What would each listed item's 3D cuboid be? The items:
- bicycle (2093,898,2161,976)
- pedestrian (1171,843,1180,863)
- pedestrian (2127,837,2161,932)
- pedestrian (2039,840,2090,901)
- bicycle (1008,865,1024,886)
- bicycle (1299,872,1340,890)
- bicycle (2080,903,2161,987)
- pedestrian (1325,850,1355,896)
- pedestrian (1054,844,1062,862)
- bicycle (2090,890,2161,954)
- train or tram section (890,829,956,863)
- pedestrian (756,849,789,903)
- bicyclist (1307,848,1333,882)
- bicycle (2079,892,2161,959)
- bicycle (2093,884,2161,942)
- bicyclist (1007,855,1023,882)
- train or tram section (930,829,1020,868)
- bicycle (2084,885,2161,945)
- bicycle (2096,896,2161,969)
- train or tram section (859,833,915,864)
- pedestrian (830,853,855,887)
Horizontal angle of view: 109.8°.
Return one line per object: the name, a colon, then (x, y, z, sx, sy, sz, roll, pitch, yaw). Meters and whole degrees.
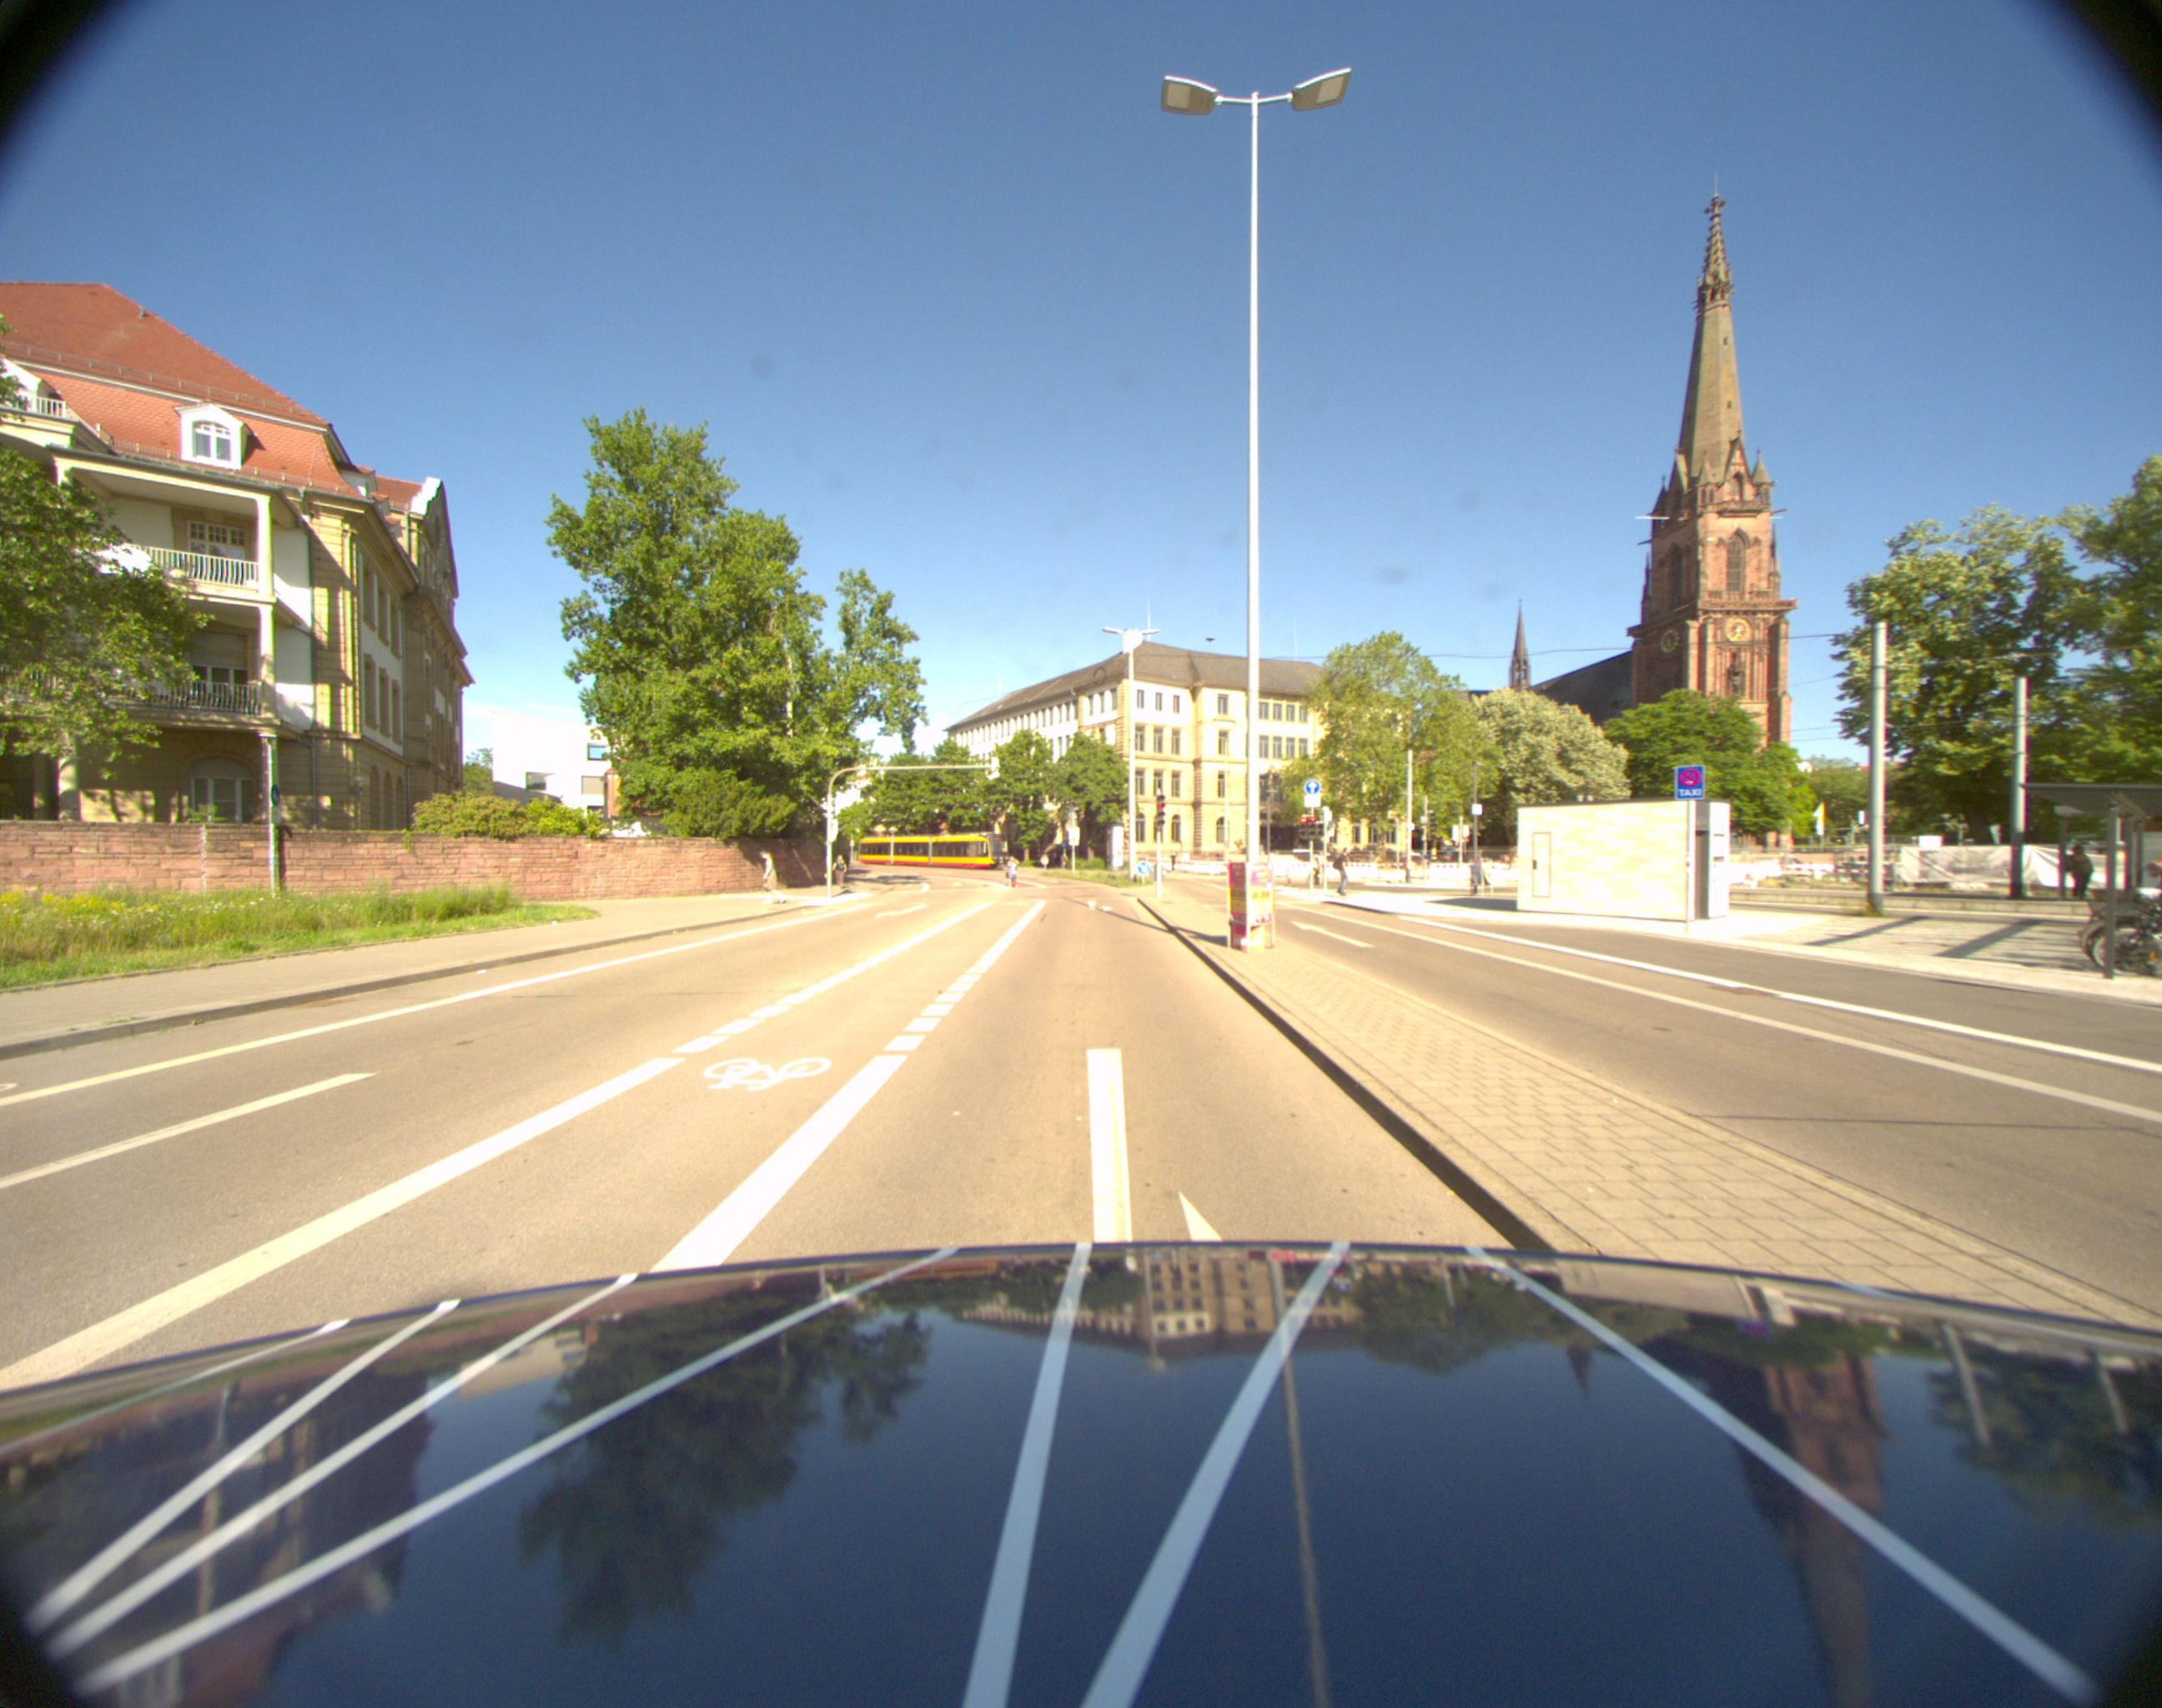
bicycle: (15.031, 1.166, 10.207, 0.407, 0.993, 1.678, -3, 3, -33)
pedestrian: (8.184, -0.125, 65.656, 0.540, 1.710, 0.545, -1, 1, -37)
pedestrian: (21.376, 0.594, 15.057, 0.622, 1.849, 0.700, -1, 2, -39)
pedestrian: (30.541, 0.497, 23.607, 0.619, 1.849, 0.703, 0, 1, 11)
bicycle: (-3.419, 1.121, 39.679, 0.741, 0.989, 2.305, -2, 1, -6)
bicycle: (10.927, 1.221, 34.757, 2.056, 0.777, 0.739, -1, 1, -37)
bicycle: (13.986, 1.188, 9.549, 0.407, 0.993, 1.678, -3, 3, -33)
pedestrian: (9.855, 0.700, 28.938, 1.001, 1.733, 0.631, 0, 1, 8)
pedestrian: (-2.539, -0.159, 84.596, 0.557, 2.002, 0.645, -1, 1, -37)
bicycle: (17.965, 1.137, 12.457, 0.407, 0.993, 1.679, -3, 2, -33)
train or tram section: (-17.963, -0.882, 85.650, 2.947, 3.500, 11.646, -1, 1, -34)
pedestrian: (-10.537, 0.739, 25.967, 0.786, 1.847, 0.631, 0, 1, 16)
bicyclist: (10.916, 0.492, 34.736, 0.887, 1.562, 0.739, -1, 1, -37)
bicycle: (17.185, 1.141, 12.010, 0.407, 0.993, 1.679, -3, 2, -33)
bicycle: (19.515, 1.064, 13.577, 0.407, 0.993, 1.679, -3, 2, -33)
bicyclist: (-3.438, 0.748, 39.659, 0.741, 1.363, 0.626, -2, 1, -6)
train or tram section: (-10.771, -0.533, 75.106, 2.947, 3.500, 13.802, -1, 1, -35)
bicycle: (19.029, 1.084, 13.335, 0.407, 0.993, 1.679, -3, 2, -33)
bicycle: (16.129, 1.182, 10.997, 0.407, 0.993, 1.678, -3, 3, -33)
train or tram section: (-24.473, -0.719, 95.304, 2.947, 3.662, 11.646, -1, 1, -34)
pedestrian: (-11.653, 0.774, 37.136, 0.931, 1.657, 0.631, 0, 1, 6)
